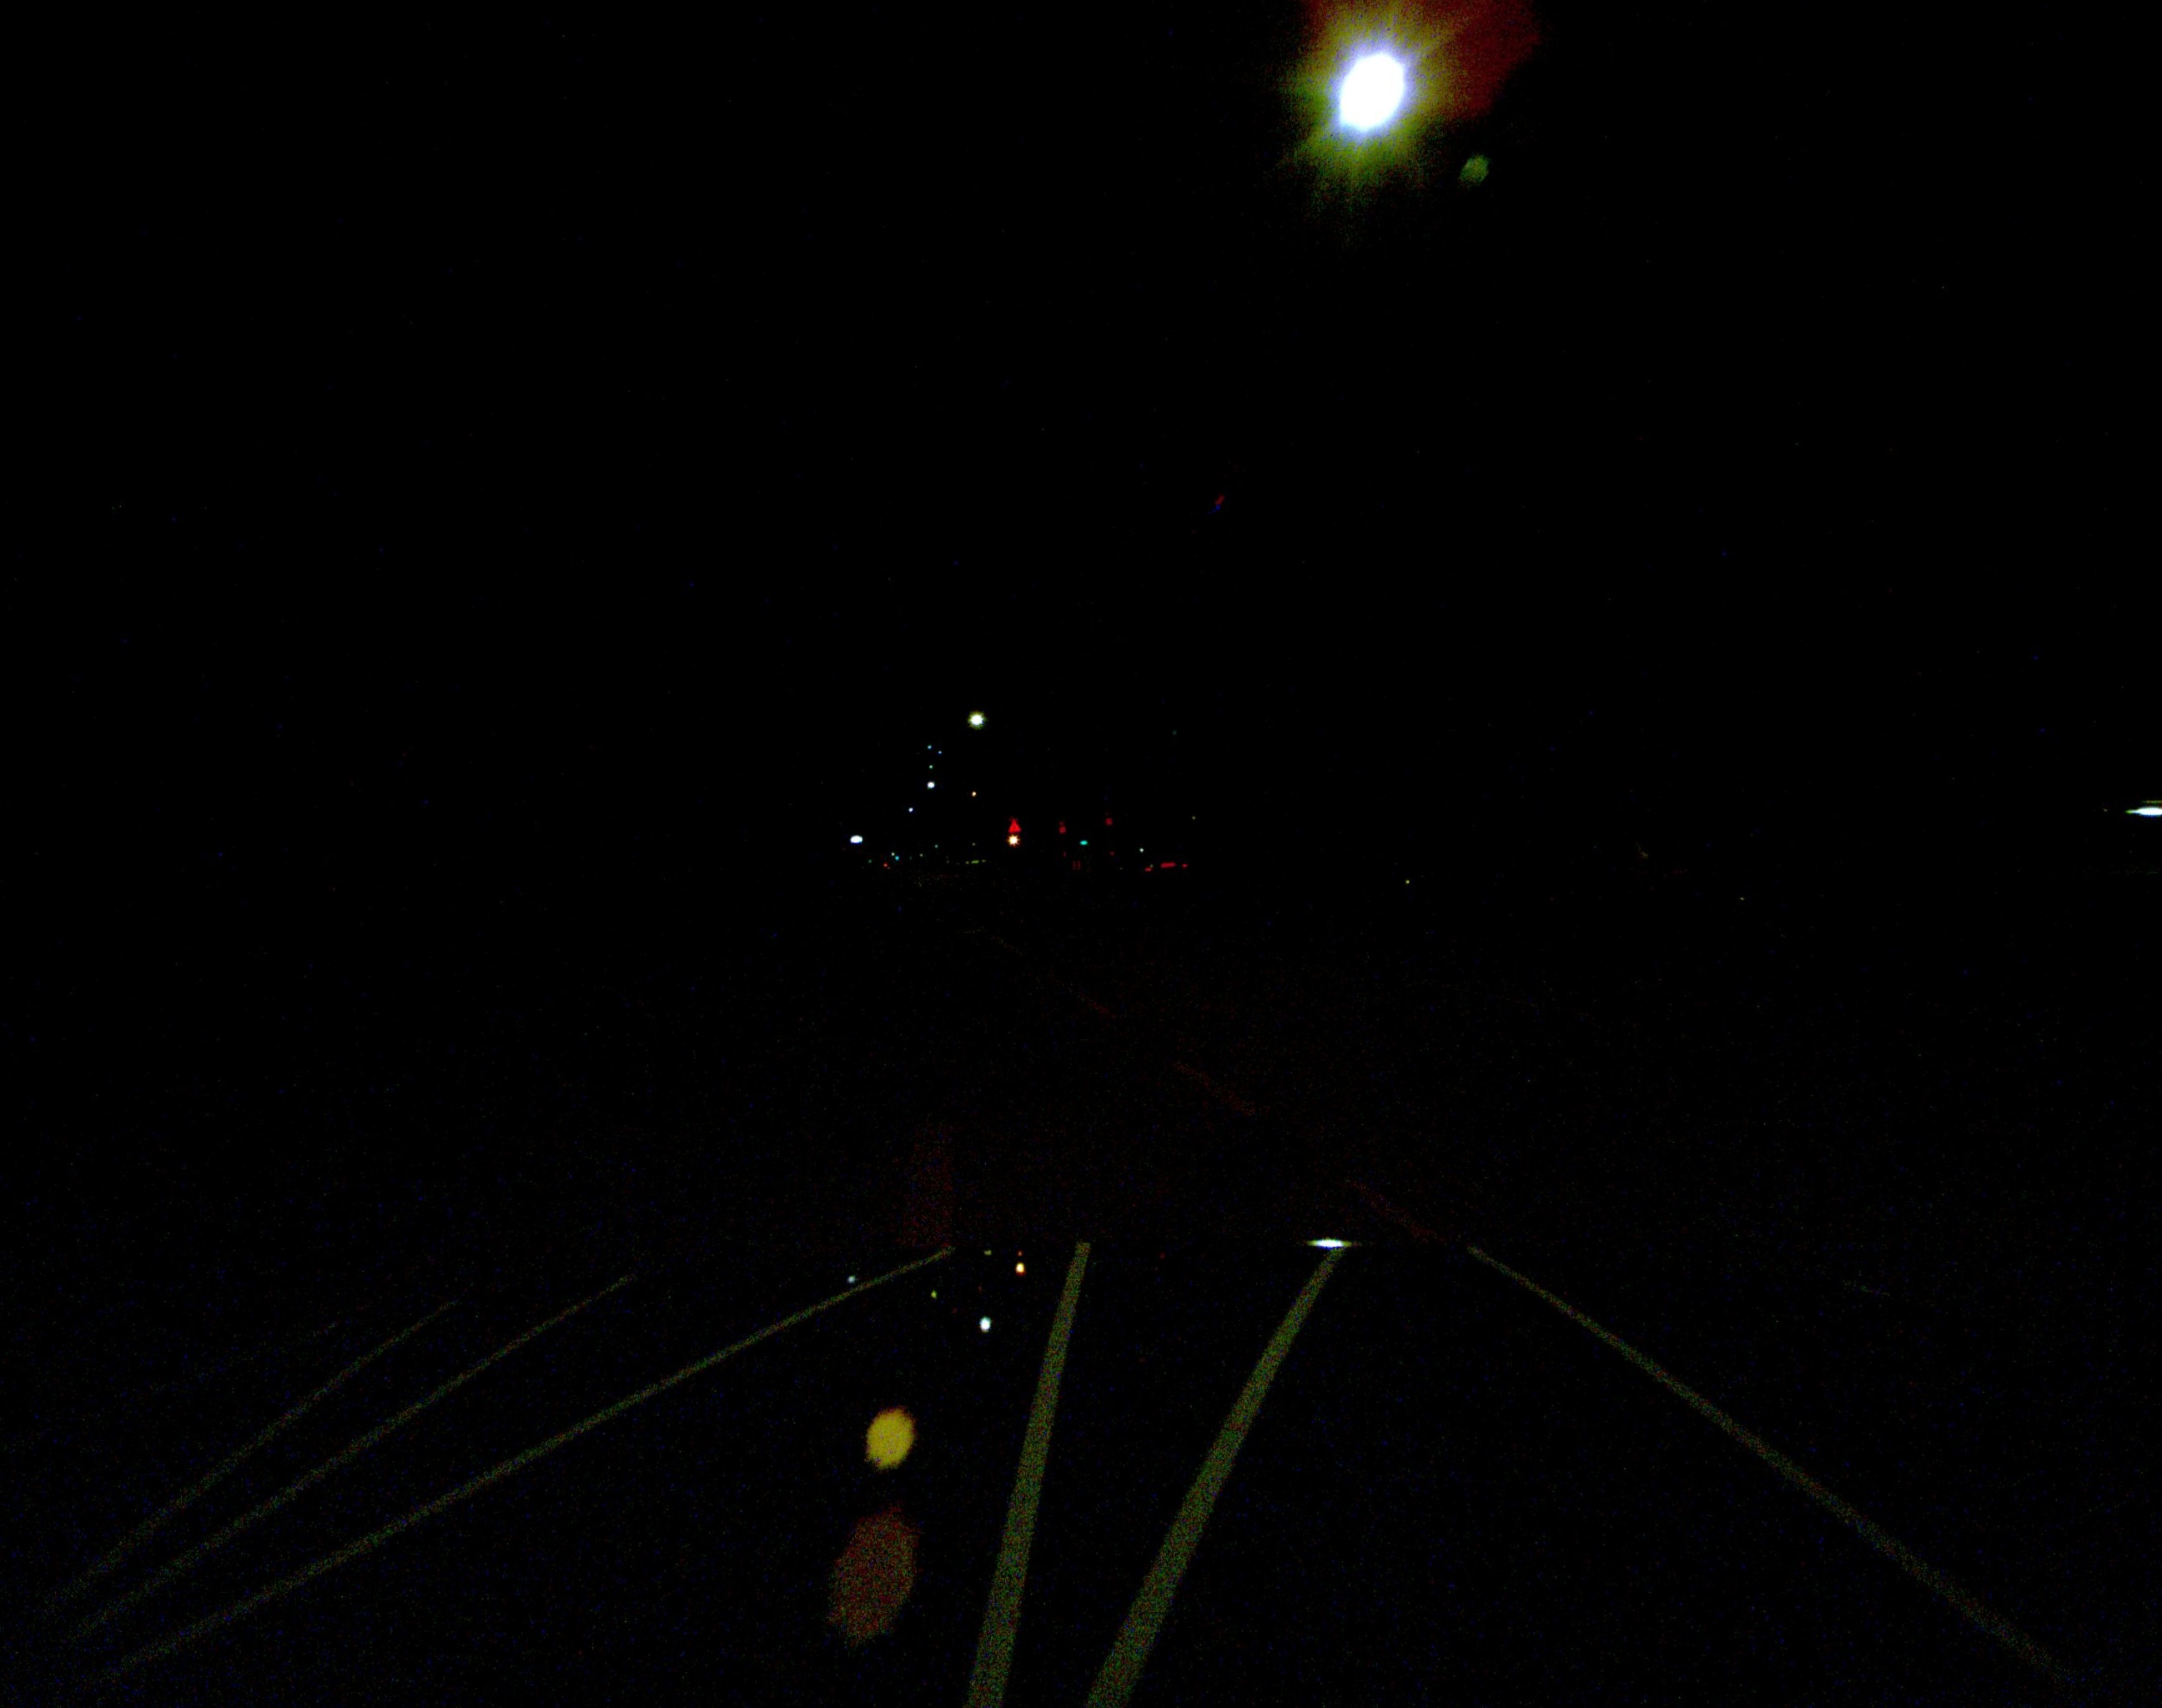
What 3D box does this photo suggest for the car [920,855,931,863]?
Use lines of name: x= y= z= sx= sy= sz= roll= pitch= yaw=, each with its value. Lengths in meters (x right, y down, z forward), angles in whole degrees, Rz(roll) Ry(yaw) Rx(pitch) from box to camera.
car: x=-30.709 y=0.984 z=150.155 sx=1.828 sy=1.424 sz=3.726 roll=-7 pitch=1 yaw=-13

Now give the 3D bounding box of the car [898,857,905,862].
car: x=-56.902 y=1.617 z=240.729 sx=1.828 sy=1.424 sz=3.726 roll=-7 pitch=1 yaw=-16

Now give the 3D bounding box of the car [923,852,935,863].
car: x=-28.854 y=0.697 z=144.479 sx=1.884 sy=1.799 sz=3.726 roll=-7 pitch=1 yaw=-13

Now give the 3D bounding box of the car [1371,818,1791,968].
car: x=6.274 y=0.399 z=10.392 sx=1.775 sy=1.477 sz=4.761 roll=-3 pitch=1 yaw=-16

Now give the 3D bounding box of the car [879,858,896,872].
car: x=-21.809 y=1.244 z=85.823 sx=1.592 sy=1.453 sz=3.792 roll=-5 pitch=1 yaw=-12

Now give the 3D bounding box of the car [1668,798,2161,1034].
car: x=7.515 y=0.355 z=5.669 sx=1.774 sy=1.477 sz=4.857 roll=-3 pitch=1 yaw=-15

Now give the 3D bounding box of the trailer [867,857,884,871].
trailer: x=-25.371 y=1.241 z=93.961 sx=1.606 sy=1.486 sz=3.730 roll=-5 pitch=1 yaw=-11

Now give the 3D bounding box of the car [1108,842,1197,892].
car: x=2.372 y=0.427 z=26.340 sx=1.720 sy=1.485 sz=3.985 roll=-5 pitch=1 yaw=-14

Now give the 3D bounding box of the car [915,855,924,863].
car: x=-36.516 y=1.044 z=171.403 sx=1.828 sy=1.637 sz=3.726 roll=-3 pitch=1 yaw=-13

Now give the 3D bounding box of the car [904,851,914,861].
car: x=-48.547 y=0.560 z=214.613 sx=2.007 sy=2.493 sz=4.947 roll=-7 pitch=2 yaw=-16
